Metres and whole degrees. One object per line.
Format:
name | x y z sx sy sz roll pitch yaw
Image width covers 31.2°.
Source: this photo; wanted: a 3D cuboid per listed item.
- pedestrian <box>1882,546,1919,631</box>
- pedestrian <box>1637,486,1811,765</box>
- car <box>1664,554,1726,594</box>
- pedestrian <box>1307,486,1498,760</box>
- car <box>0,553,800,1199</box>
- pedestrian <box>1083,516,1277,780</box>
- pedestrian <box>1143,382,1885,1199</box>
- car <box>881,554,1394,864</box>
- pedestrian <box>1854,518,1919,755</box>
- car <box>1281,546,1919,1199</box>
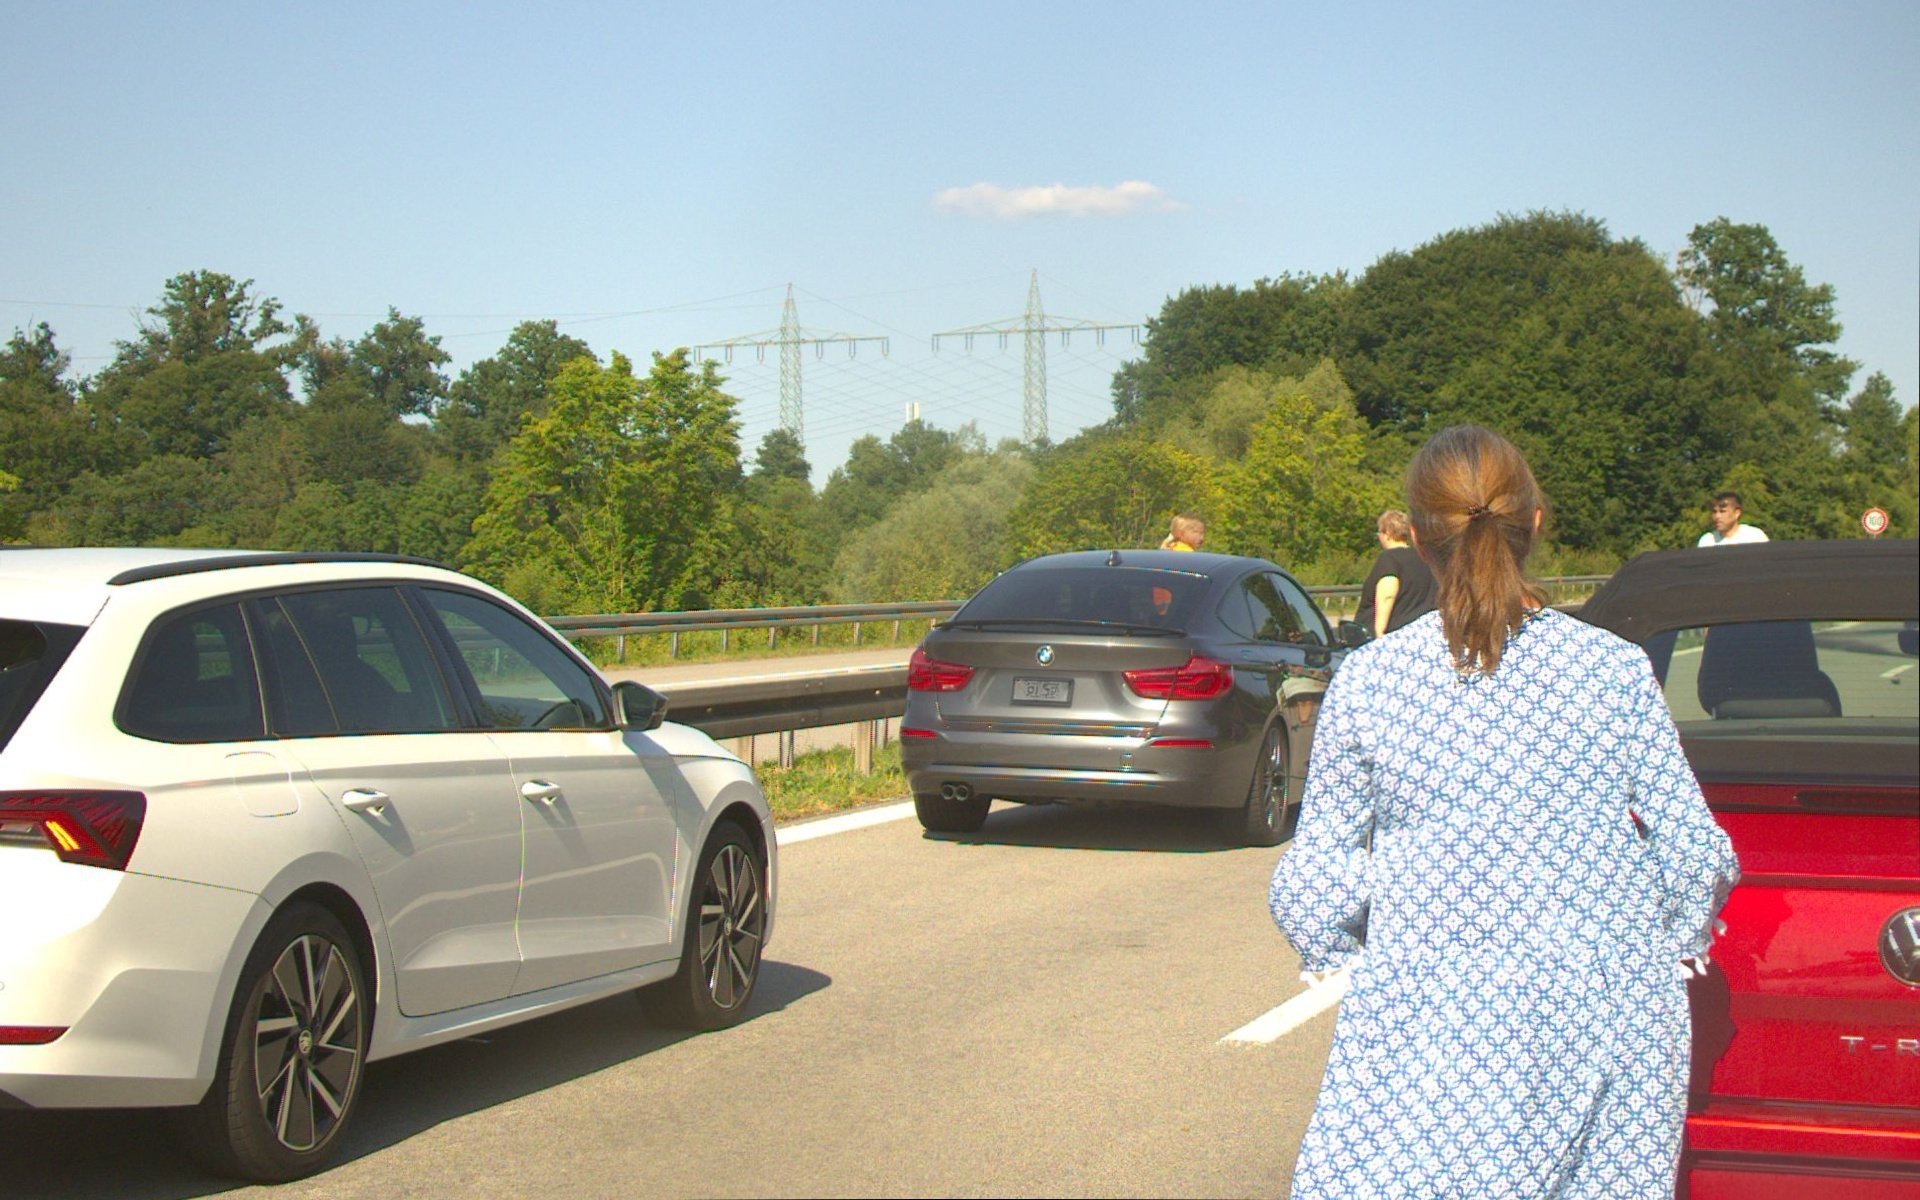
pedestrian | 19.185 -0.236 69.758 0.792 1.683 0.791 2 1 23
pedestrian | 5.342 0.168 24.120 1.106 1.906 1.257 0 1 9
car | 27.099 -0.968 126.653 1.696 1.421 4.301 1 1 19
pedestrian | 3.128 0.152 24.246 1.066 1.876 1.092 0 1 24
car | -1.959 0.612 9.165 1.696 1.436 4.207 1 1 17
pedestrian | 1.518 0.312 23.587 1.042 1.757 1.117 0 1 20
pedestrian | 0.738 0.585 4.417 0.840 1.677 0.743 0 1 18
car | 1.087 0.481 18.464 1.696 1.421 4.330 1 1 17
pedestrian | 7.645 0.273 26.442 1.087 1.782 1.108 1 1 -10
car | 1.915 0.654 6.607 1.734 1.482 4.207 1 1 17
